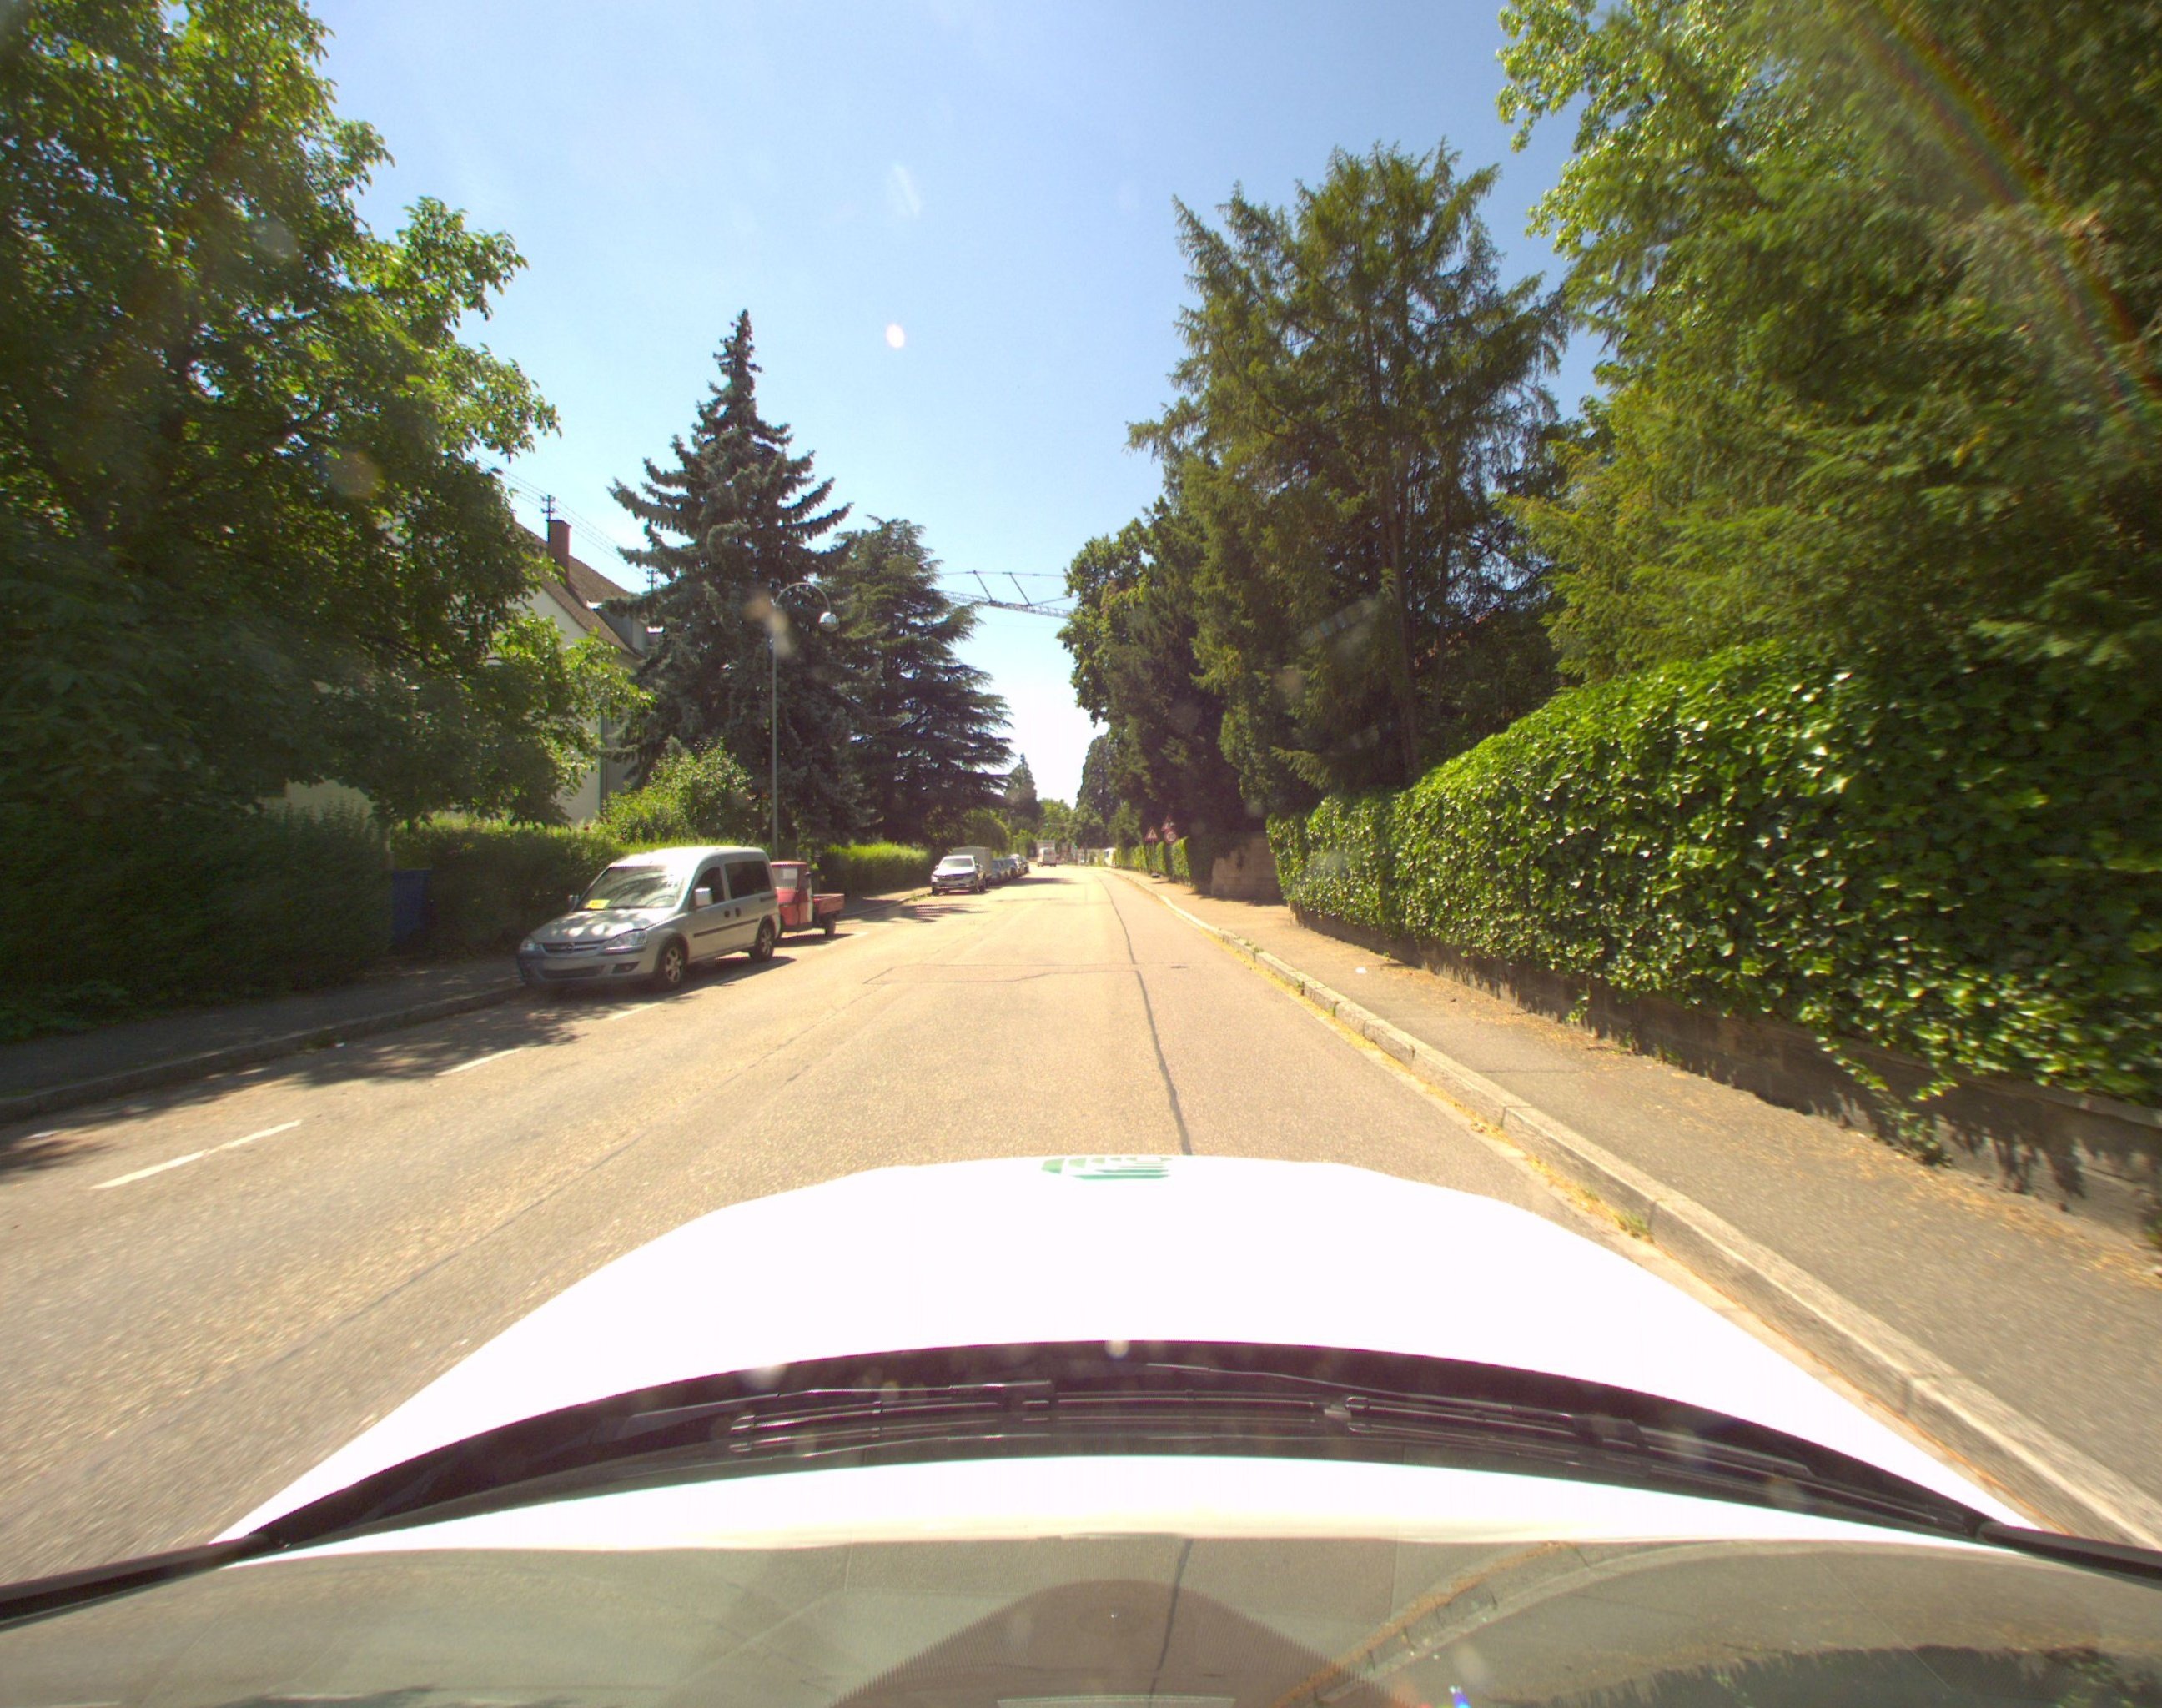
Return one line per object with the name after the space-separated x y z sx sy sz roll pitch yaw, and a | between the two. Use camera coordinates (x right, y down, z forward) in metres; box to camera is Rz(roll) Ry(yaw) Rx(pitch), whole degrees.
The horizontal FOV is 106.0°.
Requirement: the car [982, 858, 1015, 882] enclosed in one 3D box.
-5.144 0.974 51.283 1.577 1.390 3.883 -1 0 1 | car

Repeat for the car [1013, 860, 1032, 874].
-6.500 1.423 91.268 1.682 1.444 4.136 -2 0 1 | car

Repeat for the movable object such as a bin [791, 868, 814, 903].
-9.219 1.037 27.004 0.484 1.083 0.642 3 0 -2 | movable object such as a bin

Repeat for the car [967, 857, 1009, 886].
-5.142 0.951 45.519 1.703 1.439 4.322 -3 0 1 | car

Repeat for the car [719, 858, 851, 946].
-5.713 0.866 16.041 1.406 1.503 2.842 -3 0 2 | car

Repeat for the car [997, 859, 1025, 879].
-5.246 1.096 61.503 1.682 1.444 4.136 -2 0 1 | car

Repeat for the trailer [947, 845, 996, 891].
-5.283 0.656 39.845 1.842 2.040 4.161 -2 0 -1 | trailer

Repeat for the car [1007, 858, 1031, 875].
-5.495 1.073 72.525 1.682 1.444 4.136 -2 0 1 | car

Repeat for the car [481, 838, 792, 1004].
-5.620 0.740 11.040 1.641 1.752 4.356 -2 0 2 | car

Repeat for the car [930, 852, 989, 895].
-5.206 0.813 35.403 1.845 1.671 4.710 -3 0 -1 | car

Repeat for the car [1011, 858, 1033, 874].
-5.629 1.120 77.831 1.682 1.444 4.136 -2 0 1 | car

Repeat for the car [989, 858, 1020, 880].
-5.288 0.999 56.941 1.682 1.444 4.136 -2 0 1 | car

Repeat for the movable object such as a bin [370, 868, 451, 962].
-9.774 0.868 11.899 0.614 1.295 0.721 -1 -1 -9 | movable object such as a bin

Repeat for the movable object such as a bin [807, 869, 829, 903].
-8.730 1.063 27.044 0.484 1.065 0.616 3 0 -2 | movable object such as a bin

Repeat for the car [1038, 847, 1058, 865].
-4.533 0.317 111.222 2.143 2.315 4.838 -2 0 -9 | car
